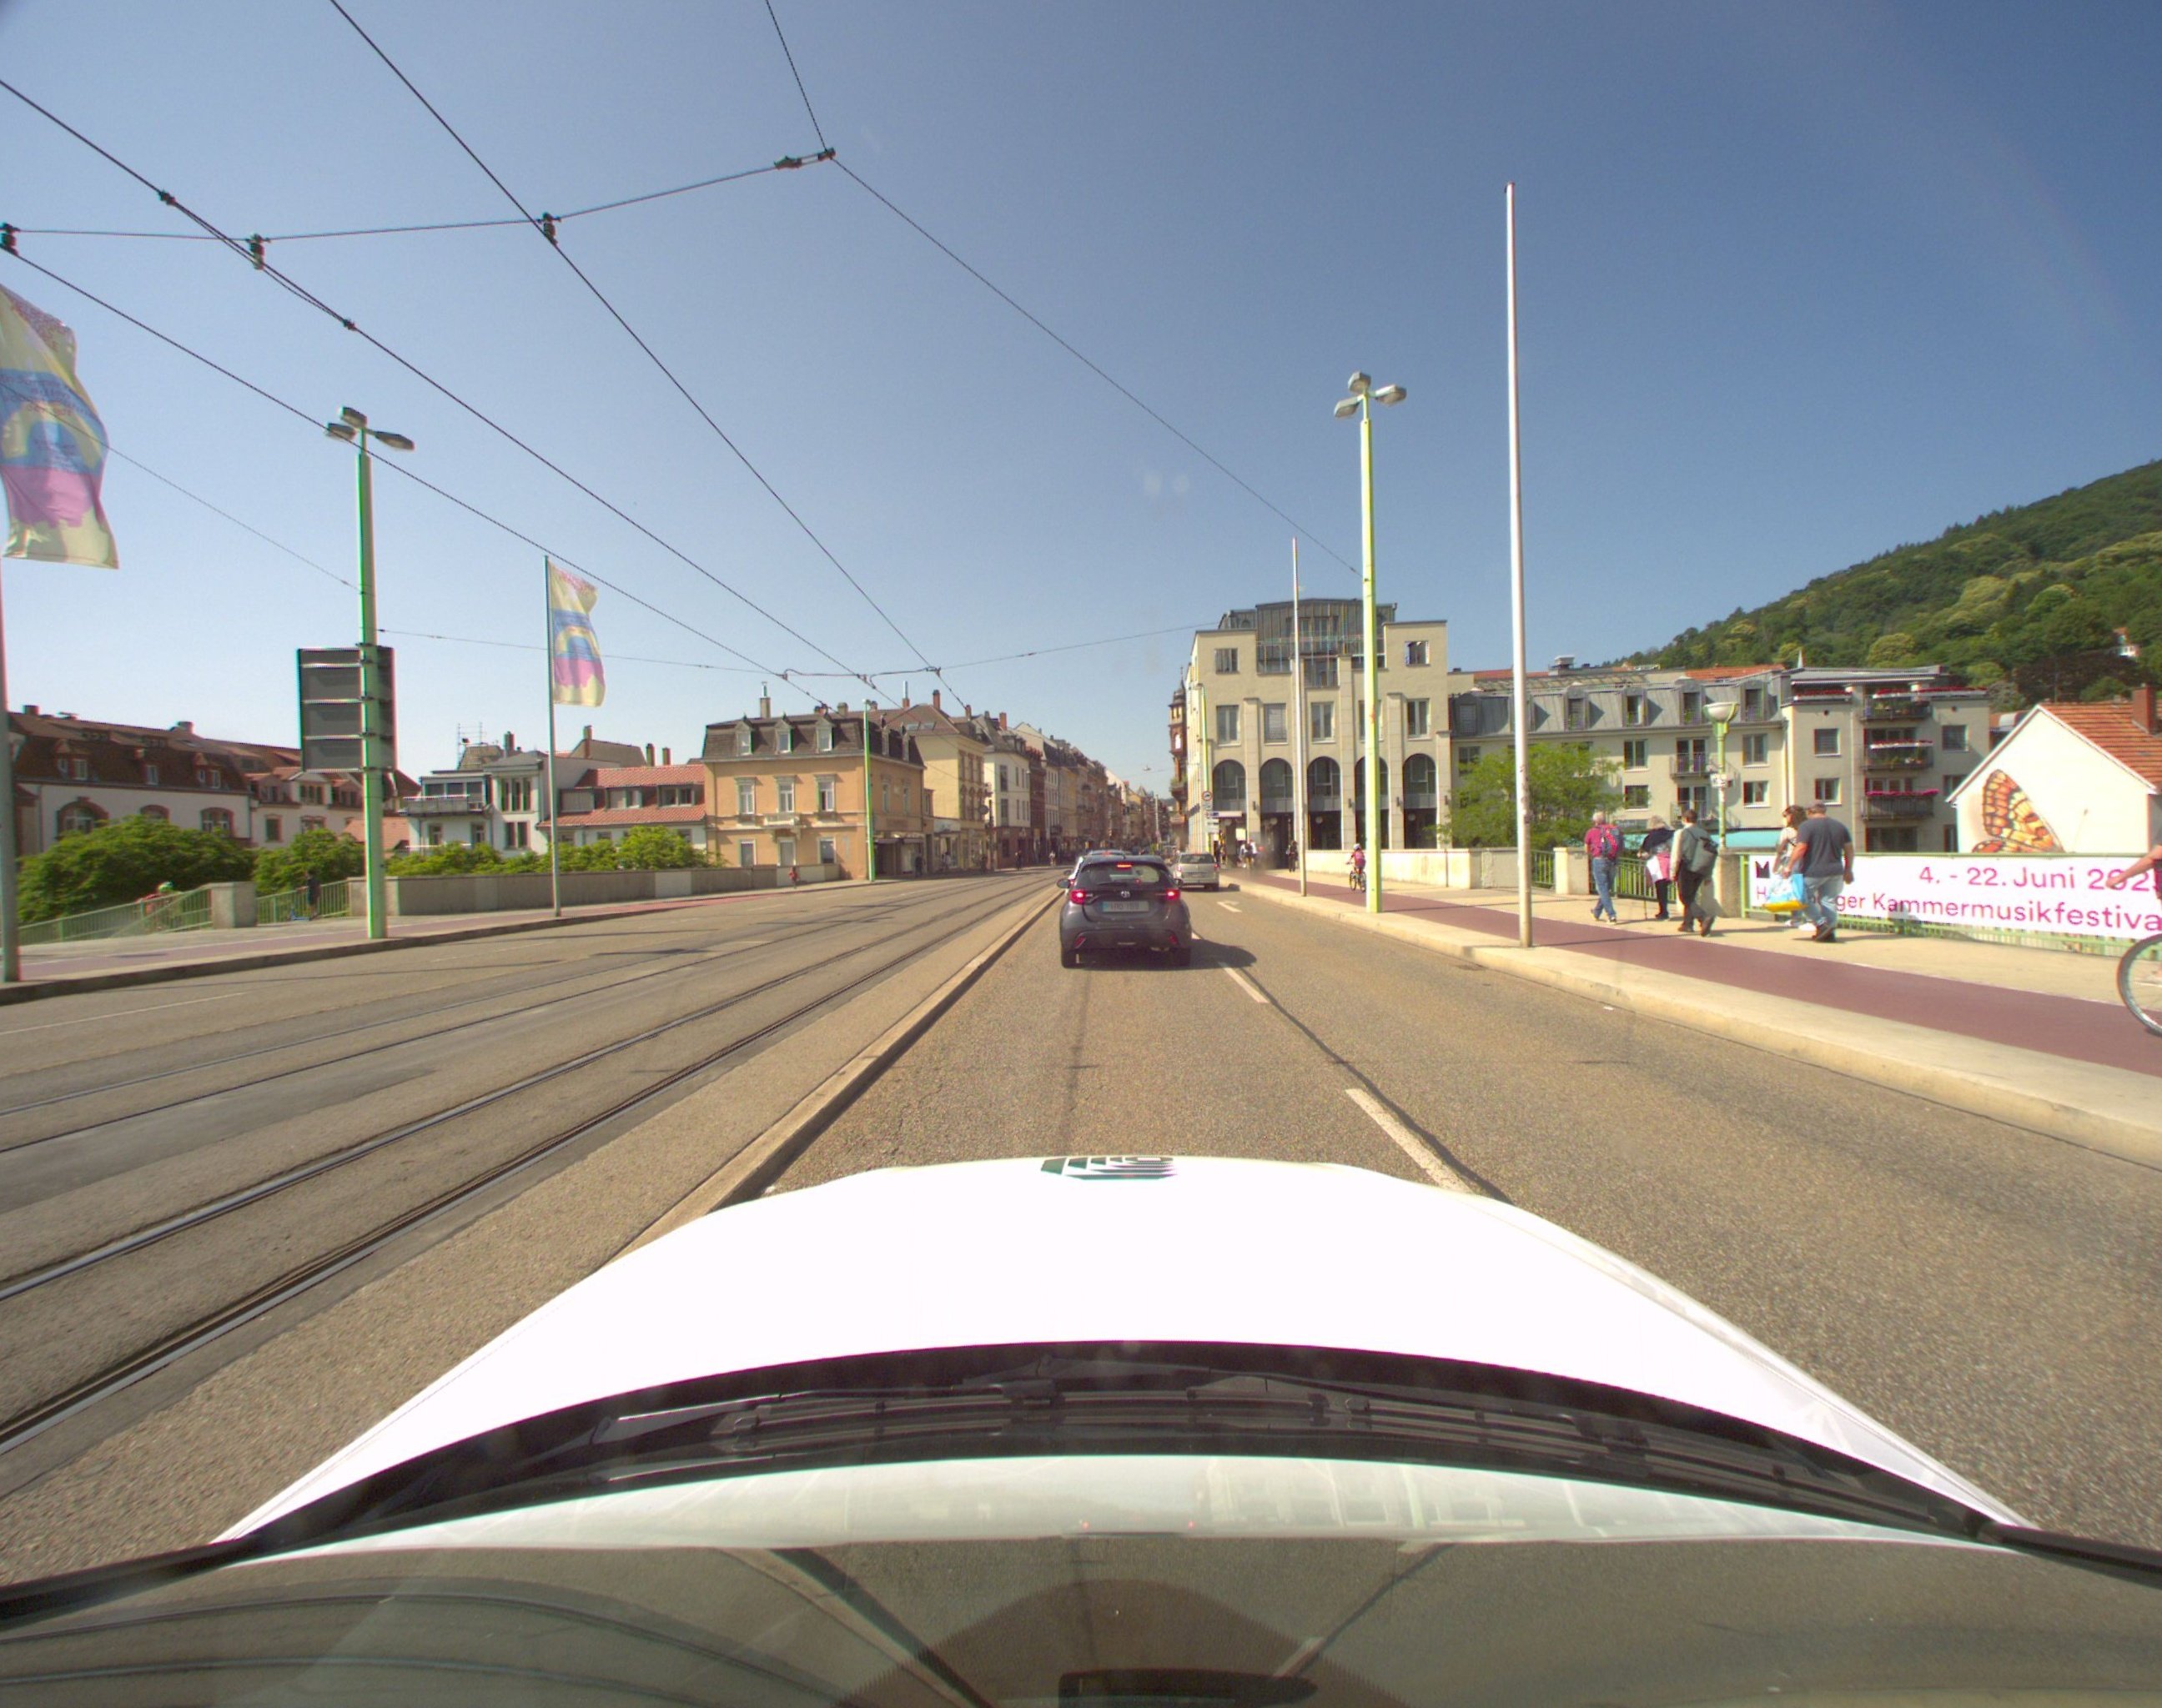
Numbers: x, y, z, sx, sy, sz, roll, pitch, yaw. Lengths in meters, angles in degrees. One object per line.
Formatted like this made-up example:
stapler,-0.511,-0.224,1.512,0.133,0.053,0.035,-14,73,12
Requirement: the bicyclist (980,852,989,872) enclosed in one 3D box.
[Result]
bicyclist,-7.885,0.627,66.830,0.625,1.650,0.622,0,1,2

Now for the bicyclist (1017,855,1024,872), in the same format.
bicyclist,-5.892,0.942,78.862,0.625,1.650,0.622,0,1,2

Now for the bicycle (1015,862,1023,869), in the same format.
bicycle,-6.442,1.208,85.210,0.618,0.716,1.772,-1,1,2

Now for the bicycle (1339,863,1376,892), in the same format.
bicycle,7.992,0.658,23.597,0.512,0.765,1.661,-3,0,2

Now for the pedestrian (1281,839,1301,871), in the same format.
pedestrian,10.733,0.057,41.610,0.736,1.615,1.016,3,0,1

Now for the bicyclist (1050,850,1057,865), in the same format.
bicyclist,-2.984,0.419,89.263,0.623,1.650,0.623,0,1,10

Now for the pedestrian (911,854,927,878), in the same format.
pedestrian,-11.226,0.813,56.384,0.757,1.654,0.713,3,0,9

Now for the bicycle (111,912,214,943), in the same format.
bicycle,-23.452,1.877,20.817,1.920,0.716,0.622,0,1,0

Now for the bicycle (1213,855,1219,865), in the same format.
bicycle,10.593,0.443,63.918,0.414,0.765,0.963,-3,0,5

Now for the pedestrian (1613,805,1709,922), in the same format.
pedestrian,9.325,0.145,13.135,0.736,1.777,1.016,-3,0,1

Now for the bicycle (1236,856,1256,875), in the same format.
bicycle,7.947,0.539,39.336,0.701,0.882,1.526,-3,0,3

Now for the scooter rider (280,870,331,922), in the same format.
scooter rider,-20.655,1.115,21.696,0.763,1.315,0.600,2,0,13

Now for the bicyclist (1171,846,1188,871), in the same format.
bicyclist,10.294,0.498,85.398,1.235,2.529,1.094,3,0,-29

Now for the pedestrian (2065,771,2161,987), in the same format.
pedestrian,8.923,0.182,6.539,0.736,1.718,1.016,-3,0,1

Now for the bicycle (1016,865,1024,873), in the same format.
bicycle,-5.894,1.471,78.852,0.618,0.716,1.732,0,1,2

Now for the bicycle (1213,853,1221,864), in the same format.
bicycle,9.908,0.294,59.339,0.414,0.765,1.207,-3,0,5

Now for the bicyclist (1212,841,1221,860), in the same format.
bicyclist,9.873,-0.239,59.296,0.535,1.316,0.673,-3,0,6

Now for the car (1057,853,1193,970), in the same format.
car,0.605,0.723,12.129,1.713,1.473,3.659,0,0,1

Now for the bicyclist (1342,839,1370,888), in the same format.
bicyclist,7.968,0.270,23.599,0.532,1.383,0.669,-3,0,2

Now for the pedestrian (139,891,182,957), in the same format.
pedestrian,-23.565,1.790,20.854,0.623,1.632,0.413,1,0,1

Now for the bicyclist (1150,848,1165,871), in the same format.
bicyclist,8.479,0.581,90.550,1.232,2.529,1.097,3,0,-20

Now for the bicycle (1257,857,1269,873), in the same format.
bicycle,9.379,0.553,41.998,0.415,0.765,0.962,-3,0,2

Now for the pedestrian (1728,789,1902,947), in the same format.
pedestrian,8.991,0.161,10.044,0.974,1.777,1.208,-3,0,1

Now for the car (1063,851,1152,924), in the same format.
car,0.624,0.708,19.298,1.890,1.530,4.001,0,0,1

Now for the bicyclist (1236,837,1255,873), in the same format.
bicyclist,7.911,0.061,39.302,0.699,1.695,0.925,-2,0,2

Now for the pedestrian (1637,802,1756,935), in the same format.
pedestrian,8.446,0.190,11.232,0.752,1.718,1.073,-3,0,1

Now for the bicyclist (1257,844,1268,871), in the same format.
bicyclist,9.354,0.176,41.967,0.420,1.383,0.444,-3,0,2

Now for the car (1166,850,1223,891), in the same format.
car,4.306,0.595,31.456,1.699,1.466,4.327,0,0,1

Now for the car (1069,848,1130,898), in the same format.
car,0.635,0.592,27.405,1.890,1.530,4.001,0,0,1

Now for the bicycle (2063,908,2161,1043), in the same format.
bicycle,6.899,0.758,4.528,0.592,0.765,1.866,-3,0,-1

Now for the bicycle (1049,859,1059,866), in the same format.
bicycle,-2.985,0.930,89.275,0.616,0.716,2.051,0,1,11

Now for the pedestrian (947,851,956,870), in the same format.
pedestrian,-11.115,0.533,69.887,0.646,1.602,0.566,3,2,2

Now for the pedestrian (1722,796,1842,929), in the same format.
pedestrian,9.861,0.113,11.501,0.736,1.746,1.016,-3,0,1

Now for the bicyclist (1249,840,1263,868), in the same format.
bicyclist,9.354,0.011,43.640,0.487,1.466,0.438,-3,0,-37

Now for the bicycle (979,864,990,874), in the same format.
bicycle,-7.886,1.216,66.860,0.618,0.716,1.772,0,1,2

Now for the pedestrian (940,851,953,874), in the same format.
pedestrian,-10.681,0.641,64.679,0.733,1.766,0.787,3,0,2

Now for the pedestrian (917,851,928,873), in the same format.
pedestrian,-11.721,0.594,60.213,0.646,1.602,0.566,3,2,2

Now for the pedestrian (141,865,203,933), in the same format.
pedestrian,-24.815,1.210,22.249,0.741,1.781,0.803,-2,0,7

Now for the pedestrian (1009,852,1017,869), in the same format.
pedestrian,-7.129,0.679,85.715,0.733,1.766,0.787,-1,1,2

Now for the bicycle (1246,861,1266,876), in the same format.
bicycle,9.386,0.762,43.659,0.420,0.765,0.951,-3,0,-37

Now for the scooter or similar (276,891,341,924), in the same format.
scooter or similar,-20.585,1.429,21.719,0.774,0.782,0.964,2,0,13

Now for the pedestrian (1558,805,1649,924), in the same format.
pedestrian,8.398,0.164,13.138,0.736,1.802,1.016,-3,0,1

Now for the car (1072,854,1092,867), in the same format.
car,0.118,0.739,94.399,1.721,1.460,4.384,-2,0,8

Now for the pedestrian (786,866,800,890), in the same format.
pedestrian,-14.530,1.206,41.093,0.409,1.146,0.546,3,0,8
